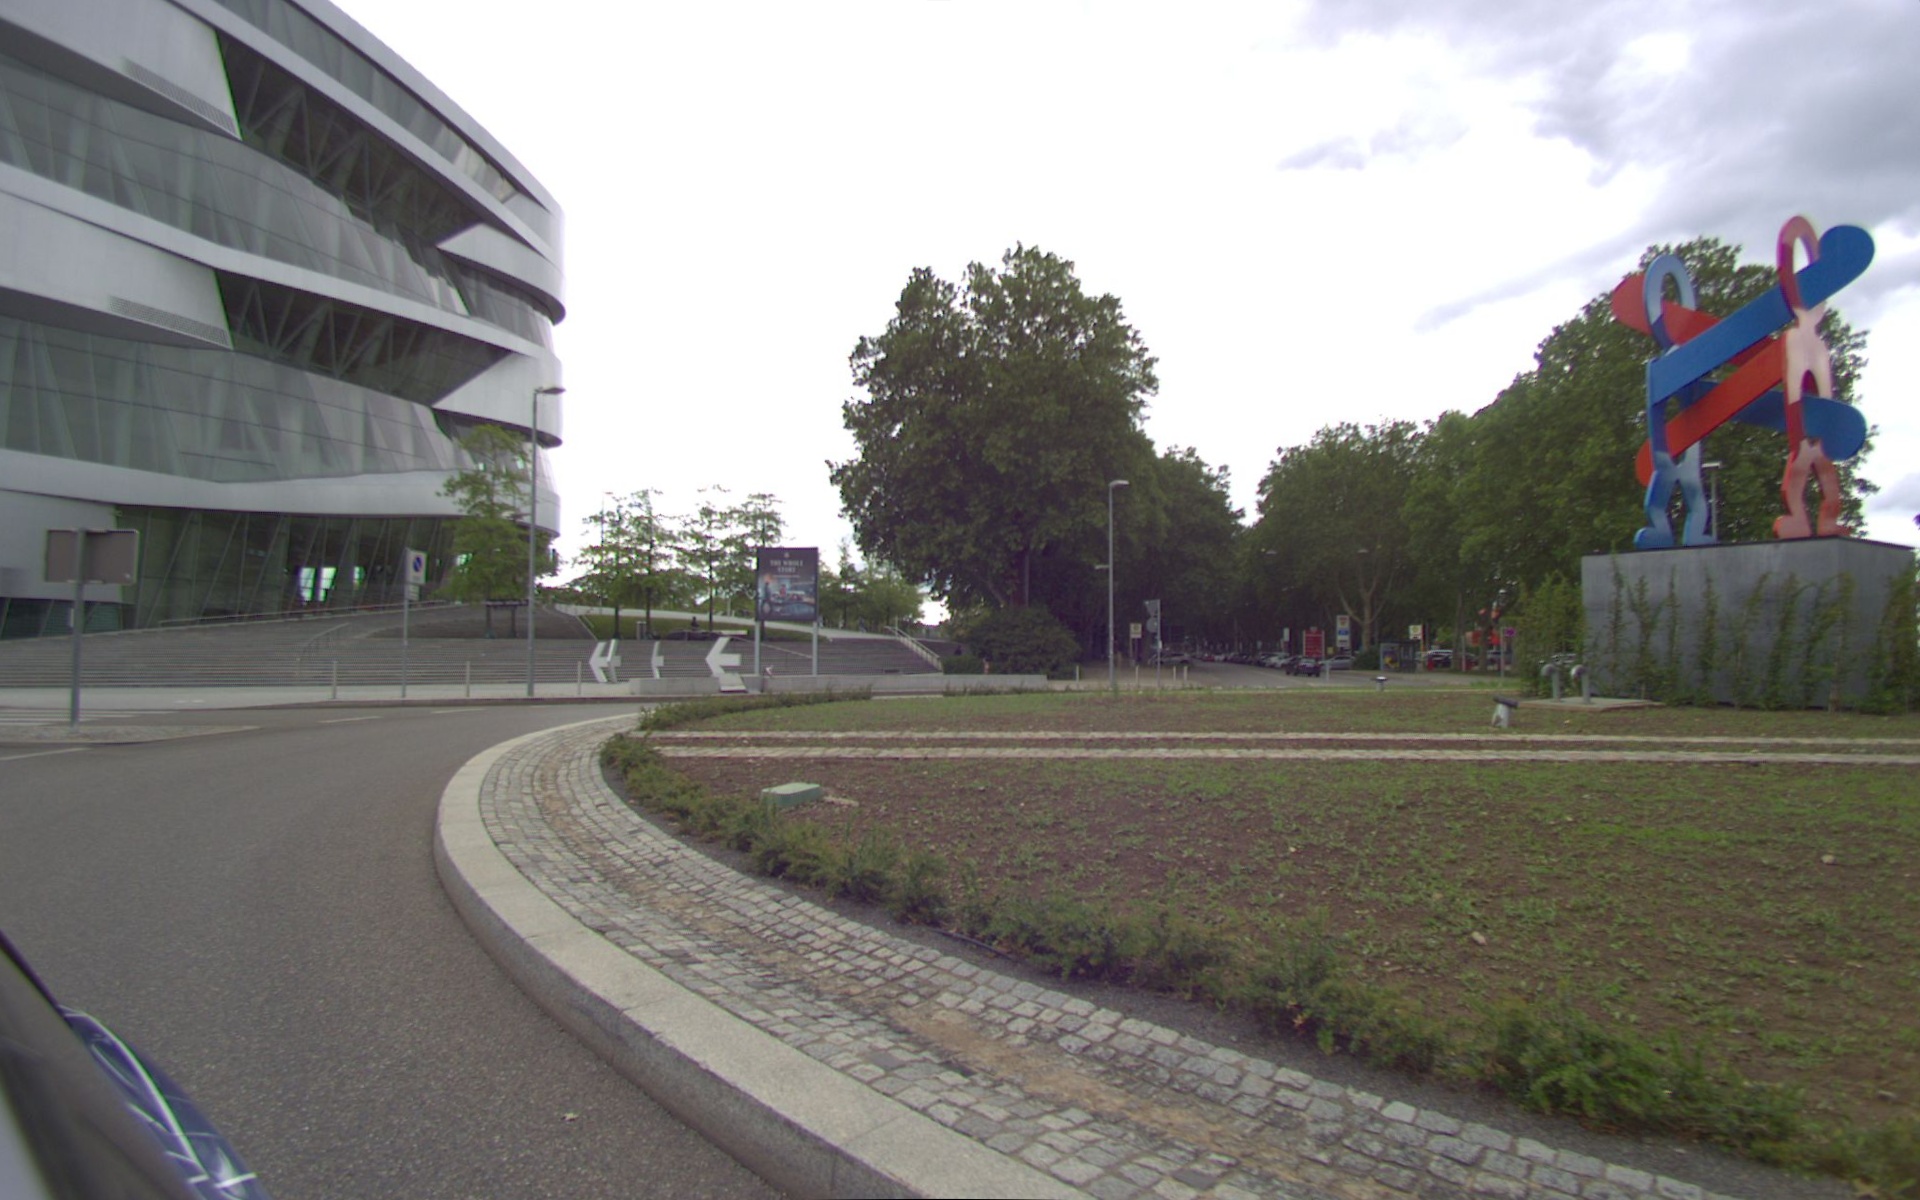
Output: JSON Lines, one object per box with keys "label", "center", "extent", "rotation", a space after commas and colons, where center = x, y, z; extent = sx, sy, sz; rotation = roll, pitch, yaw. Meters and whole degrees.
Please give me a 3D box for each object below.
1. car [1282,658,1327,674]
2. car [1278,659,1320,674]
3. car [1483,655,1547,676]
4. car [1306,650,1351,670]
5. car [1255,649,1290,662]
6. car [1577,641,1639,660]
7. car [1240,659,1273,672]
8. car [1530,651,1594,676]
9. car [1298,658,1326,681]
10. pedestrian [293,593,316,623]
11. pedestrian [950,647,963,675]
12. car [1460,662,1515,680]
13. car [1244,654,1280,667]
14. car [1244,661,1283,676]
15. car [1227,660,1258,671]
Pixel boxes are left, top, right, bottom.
{"label": "car", "center": [34.079, 6.524, 100.128], "extent": [4.142, 1.530, 1.861], "rotation": [-2, -4, 18]}
{"label": "car", "center": [34.498, 6.769, 103.087], "extent": [3.974, 1.530, 1.861], "rotation": [-2, -4, 18]}
{"label": "car", "center": [43.112, 5.100, 78.740], "extent": [3.973, 1.530, 1.861], "rotation": [-2, -4, 17]}
{"label": "car", "center": [34.007, 5.539, 93.501], "extent": [3.673, 1.791, 1.664], "rotation": [-1, -4, 12]}
{"label": "car", "center": [37.591, 6.705, 121.889], "extent": [3.974, 1.530, 1.861], "rotation": [-1, -3, 18]}
{"label": "car", "center": [59.721, 4.688, 93.342], "extent": [4.385, 1.664, 1.792], "rotation": [-1, -4, 8]}
{"label": "car", "center": [38.265, 8.452, 130.521], "extent": [3.974, 1.530, 1.861], "rotation": [-2, -4, 18]}
{"label": "car", "center": [44.986, 4.758, 75.690], "extent": [3.680, 1.791, 1.661], "rotation": [-2, -4, 17]}
{"label": "car", "center": [25.074, 4.924, 72.155], "extent": [1.783, 1.576, 4.697], "rotation": [-2, -4, 19]}
{"label": "pedestrian", "center": [-43.496, 0.526, 67.193], "extent": [0.844, 1.939, 0.948], "rotation": [-1, 0, 14]}
{"label": "pedestrian", "center": [-0.240, 3.888, 64.170], "extent": [0.585, 1.775, 0.556], "rotation": [2, -5, -35]}
{"label": "car", "center": [46.430, 6.275, 89.198], "extent": [3.973, 1.530, 1.861], "rotation": [-2, -4, 18]}
{"label": "car", "center": [35.449, 7.098, 118.715], "extent": [3.974, 1.530, 1.861], "rotation": [-2, -4, 18]}
{"label": "car", "center": [32.908, 7.404, 109.677], "extent": [3.974, 1.623, 1.857], "rotation": [-2, -4, 18]}
{"label": "car", "center": [39.108, 9.106, 139.988], "extent": [3.974, 1.530, 1.861], "rotation": [-2, -4, 18]}
